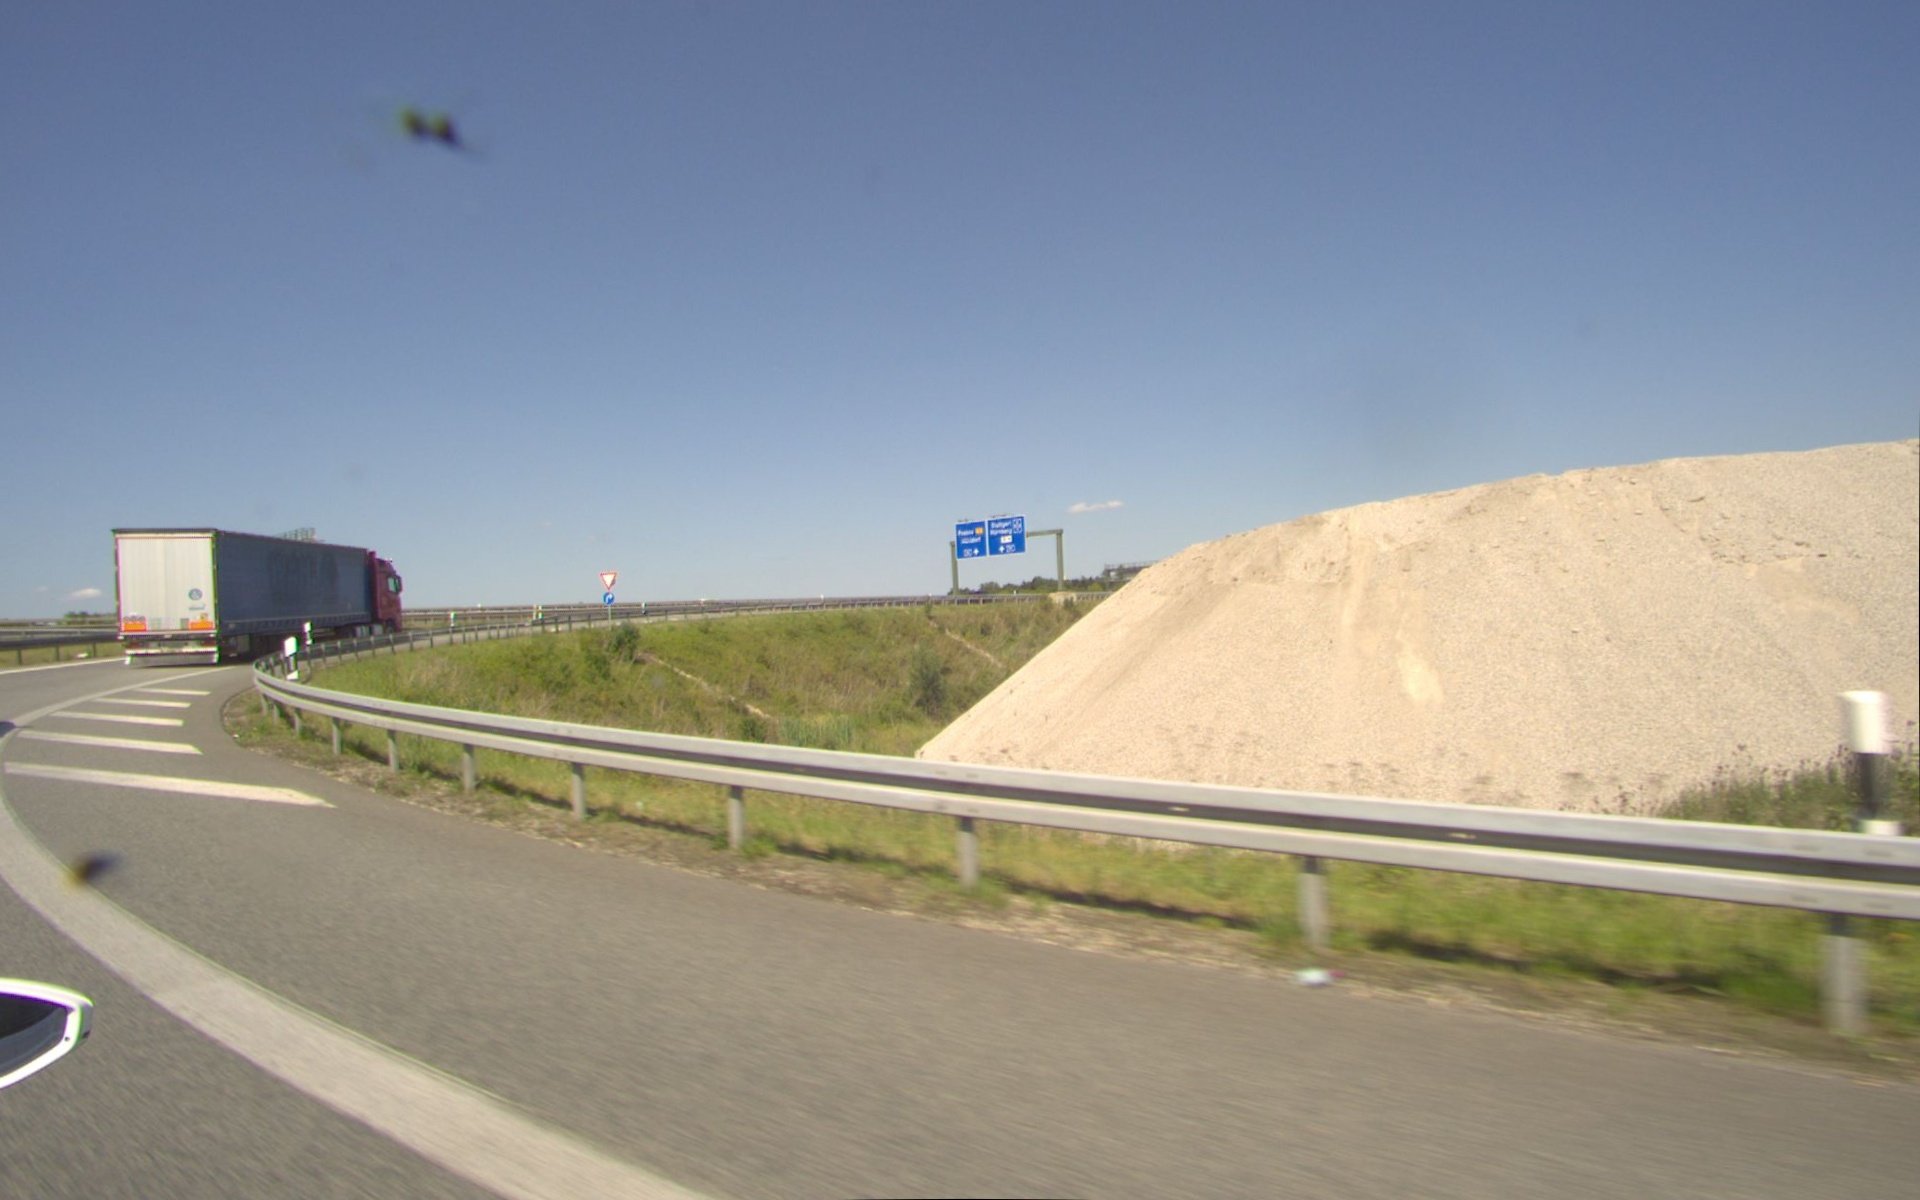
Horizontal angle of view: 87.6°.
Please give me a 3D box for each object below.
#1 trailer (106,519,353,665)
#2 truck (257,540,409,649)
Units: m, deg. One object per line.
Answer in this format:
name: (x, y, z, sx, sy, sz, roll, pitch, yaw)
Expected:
trailer: (-24.473, -0.163, 34.527, 2.869, 4.199, 11.243, 0, -1, -14)
truck: (-26.048, -0.174, 42.022, 2.866, 4.199, 6.922, 0, 0, -9)
